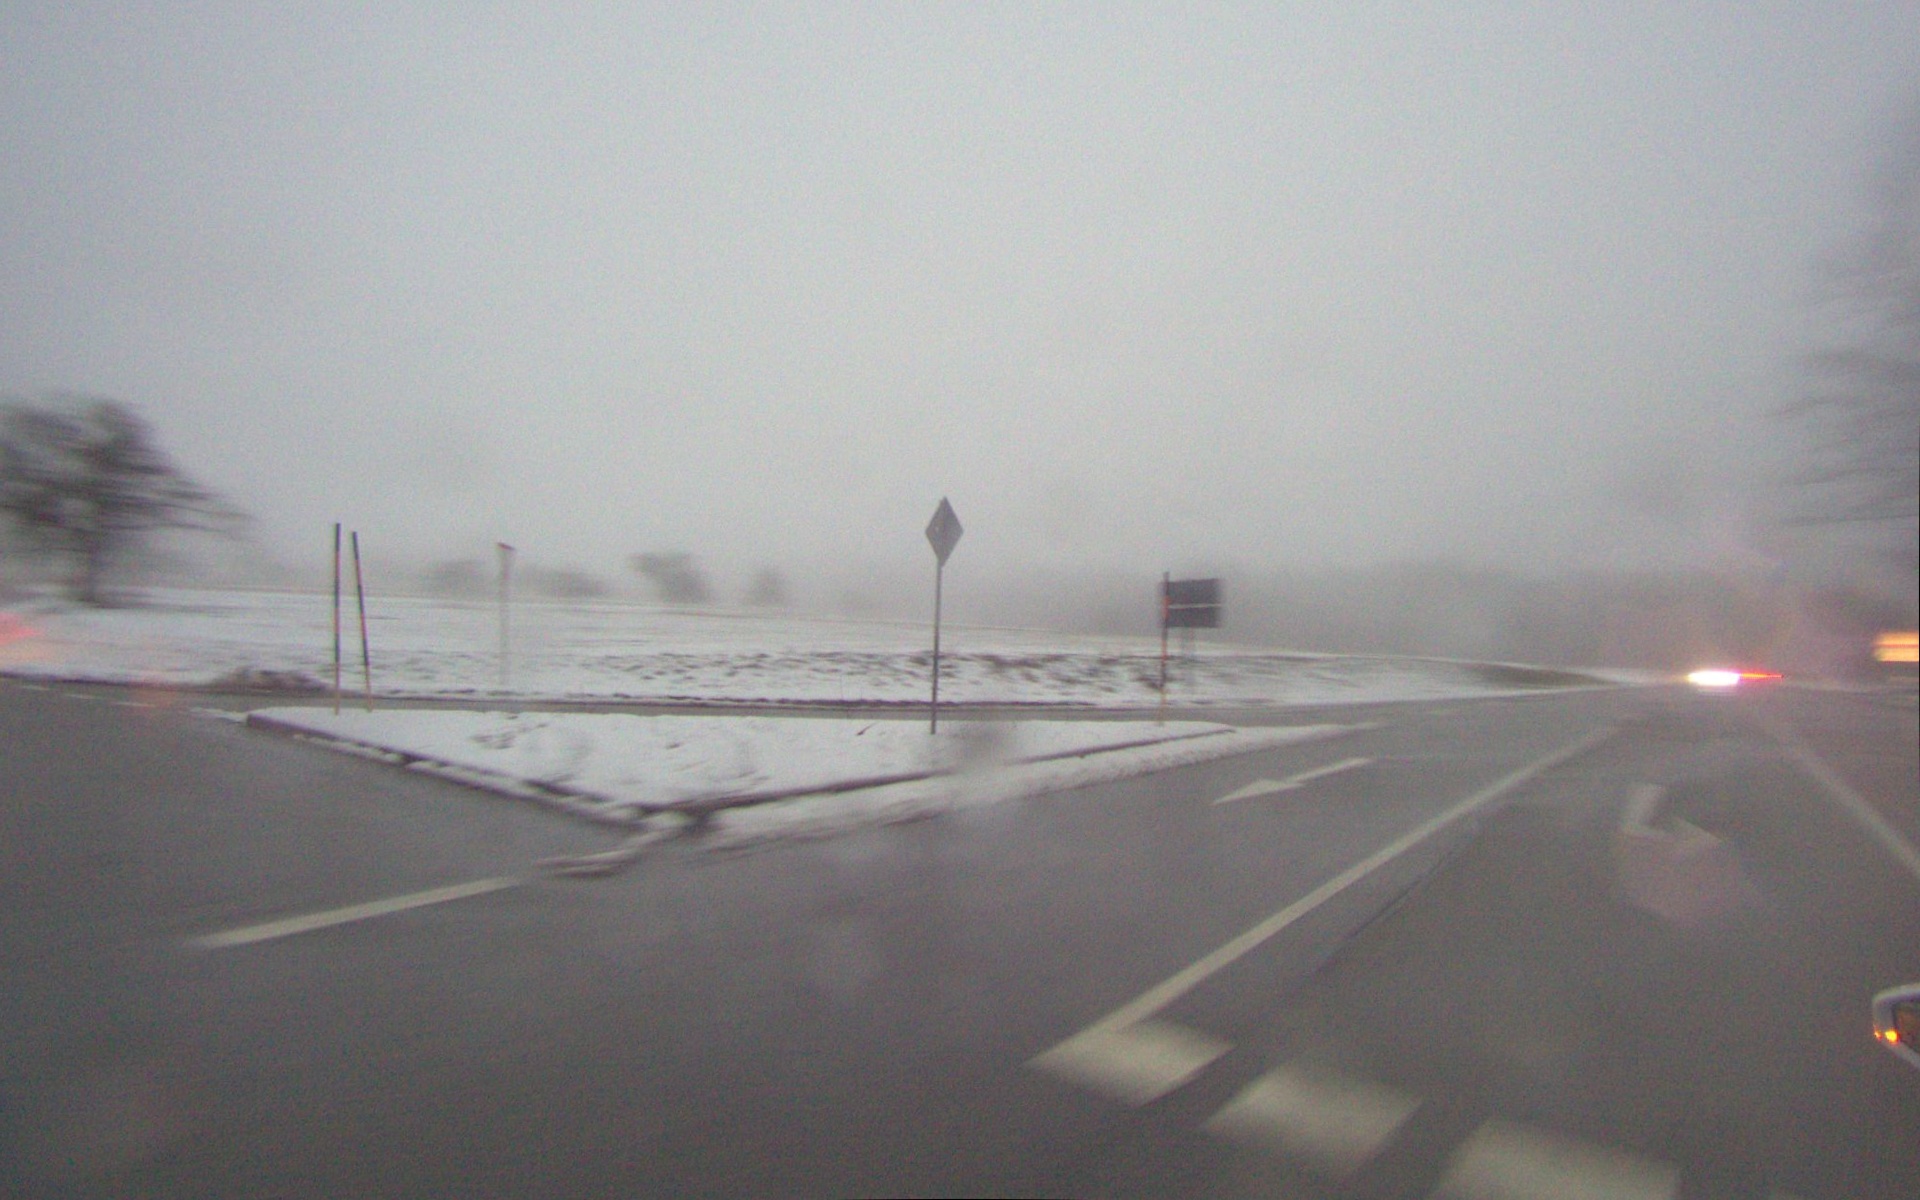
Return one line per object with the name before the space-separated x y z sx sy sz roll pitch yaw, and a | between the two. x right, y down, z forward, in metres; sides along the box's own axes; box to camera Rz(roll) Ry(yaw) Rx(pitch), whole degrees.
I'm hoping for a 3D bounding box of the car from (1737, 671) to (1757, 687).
car | 87.620 8.805 111.805 1.672 1.572 3.838 1 -1 40
